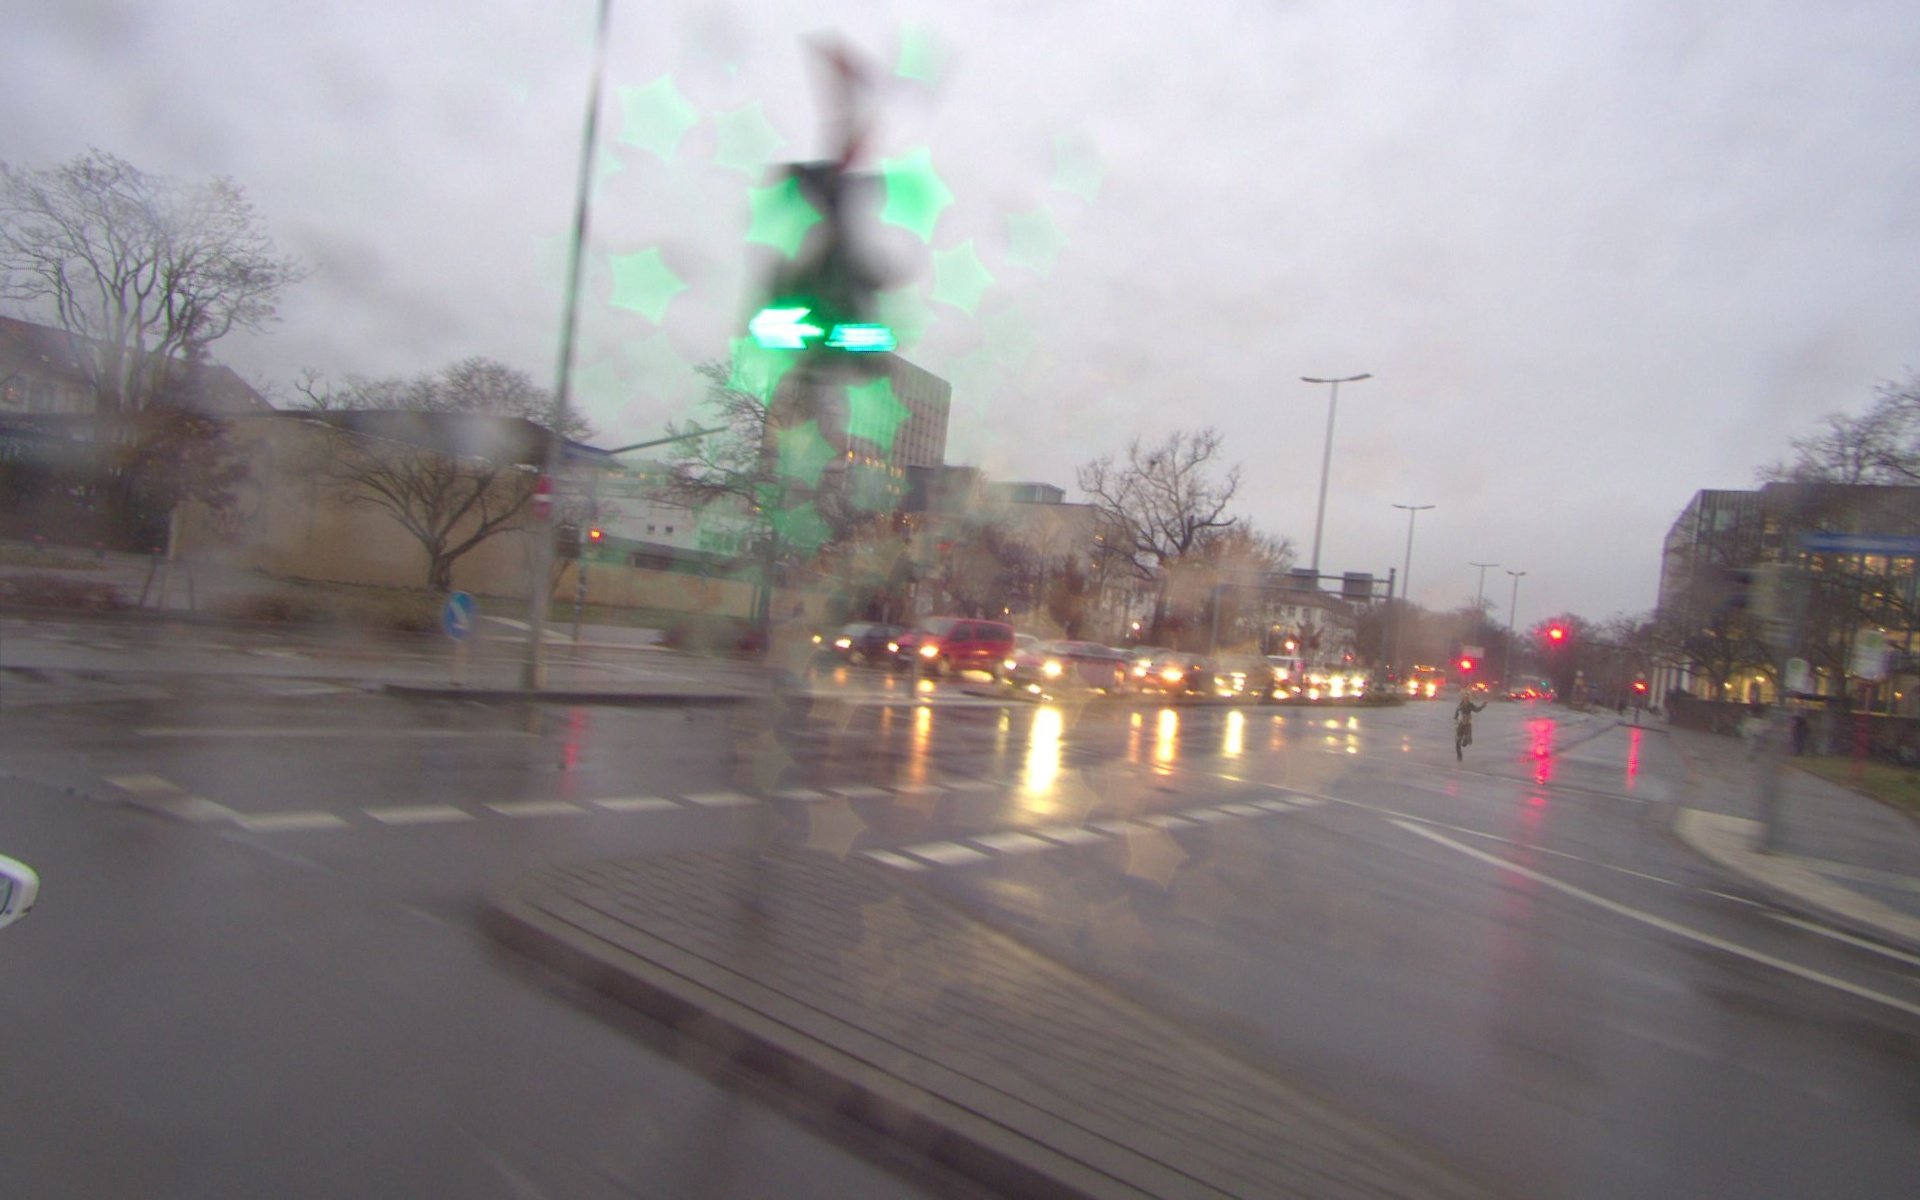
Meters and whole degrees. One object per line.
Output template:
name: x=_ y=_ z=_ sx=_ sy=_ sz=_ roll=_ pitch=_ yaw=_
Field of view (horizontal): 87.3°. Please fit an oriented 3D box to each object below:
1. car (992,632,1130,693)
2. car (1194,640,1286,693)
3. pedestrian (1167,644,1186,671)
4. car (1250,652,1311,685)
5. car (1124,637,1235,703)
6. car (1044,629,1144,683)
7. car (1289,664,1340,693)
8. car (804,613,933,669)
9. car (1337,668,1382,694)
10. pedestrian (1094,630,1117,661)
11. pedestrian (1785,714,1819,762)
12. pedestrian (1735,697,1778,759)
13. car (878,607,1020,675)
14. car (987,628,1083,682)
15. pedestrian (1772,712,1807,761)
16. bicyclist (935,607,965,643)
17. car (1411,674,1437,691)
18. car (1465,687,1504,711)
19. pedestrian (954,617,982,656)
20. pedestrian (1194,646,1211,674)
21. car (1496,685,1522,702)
car: x=2.989 y=1.835 z=29.021 sx=1.901 sy=1.393 sz=4.484 roll=7 pitch=0 yaw=35
car: x=11.272 y=2.690 z=40.313 sx=1.968 sy=1.771 sz=4.457 roll=8 pitch=1 yaw=35
pedestrian: x=15.480 y=4.113 z=71.882 sx=0.919 sy=1.848 sz=0.831 roll=7 pitch=1 yaw=35
car: x=18.984 y=4.089 z=59.400 sx=1.968 sy=1.587 sz=4.747 roll=8 pitch=1 yaw=35
car: x=7.799 y=2.493 z=35.444 sx=1.968 sy=1.772 sz=4.457 roll=15 pitch=4 yaw=35
car: x=5.441 y=2.278 z=40.339 sx=1.969 sy=1.771 sz=4.457 roll=7 pitch=0 yaw=35
car: x=23.927 y=5.292 z=67.786 sx=1.968 sy=1.587 sz=4.457 roll=8 pitch=1 yaw=35
car: x=-2.987 y=1.412 z=33.908 sx=1.747 sy=1.505 sz=4.457 roll=7 pitch=0 yaw=35
car: x=29.832 y=6.073 z=75.032 sx=1.968 sy=1.587 sz=4.457 roll=8 pitch=1 yaw=35
pedestrian: x=9.122 y=2.859 z=63.062 sx=0.919 sy=1.848 sz=0.831 roll=7 pitch=1 yaw=35
pedestrian: x=35.342 y=5.767 z=42.230 sx=0.795 sy=1.853 sz=0.945 roll=7 pitch=1 yaw=32
pedestrian: x=25.835 y=4.137 z=32.652 sx=0.795 sy=1.853 sz=0.945 roll=7 pitch=1 yaw=32
car: x=-0.255 y=1.369 z=32.559 sx=1.969 sy=1.771 sz=4.930 roll=7 pitch=0 yaw=35
car: x=3.163 y=2.305 z=41.573 sx=1.970 sy=1.860 sz=3.986 roll=6 pitch=-1 yaw=37
pedestrian: x=34.162 y=5.621 z=41.444 sx=0.795 sy=1.853 sz=0.945 roll=7 pitch=1 yaw=32
bicyclist: x=-0.451 y=1.140 z=45.174 sx=0.756 sy=1.508 sz=0.991 roll=7 pitch=1 yaw=36
car: x=58.863 y=10.487 z=127.538 sx=2.109 sy=1.838 sz=3.988 roll=7 pitch=0 yaw=35
car: x=42.454 y=8.044 z=81.441 sx=1.969 sy=1.586 sz=4.457 roll=9 pitch=0 yaw=36
pedestrian: x=0.427 y=1.874 z=51.662 sx=0.919 sy=1.848 sz=0.831 roll=7 pitch=1 yaw=35
pedestrian: x=18.273 y=4.544 z=75.860 sx=0.754 sy=2.039 sz=0.908 roll=7 pitch=1 yaw=34
car: x=62.729 y=10.722 z=114.862 sx=1.968 sy=1.586 sz=4.459 roll=8 pitch=0 yaw=35
